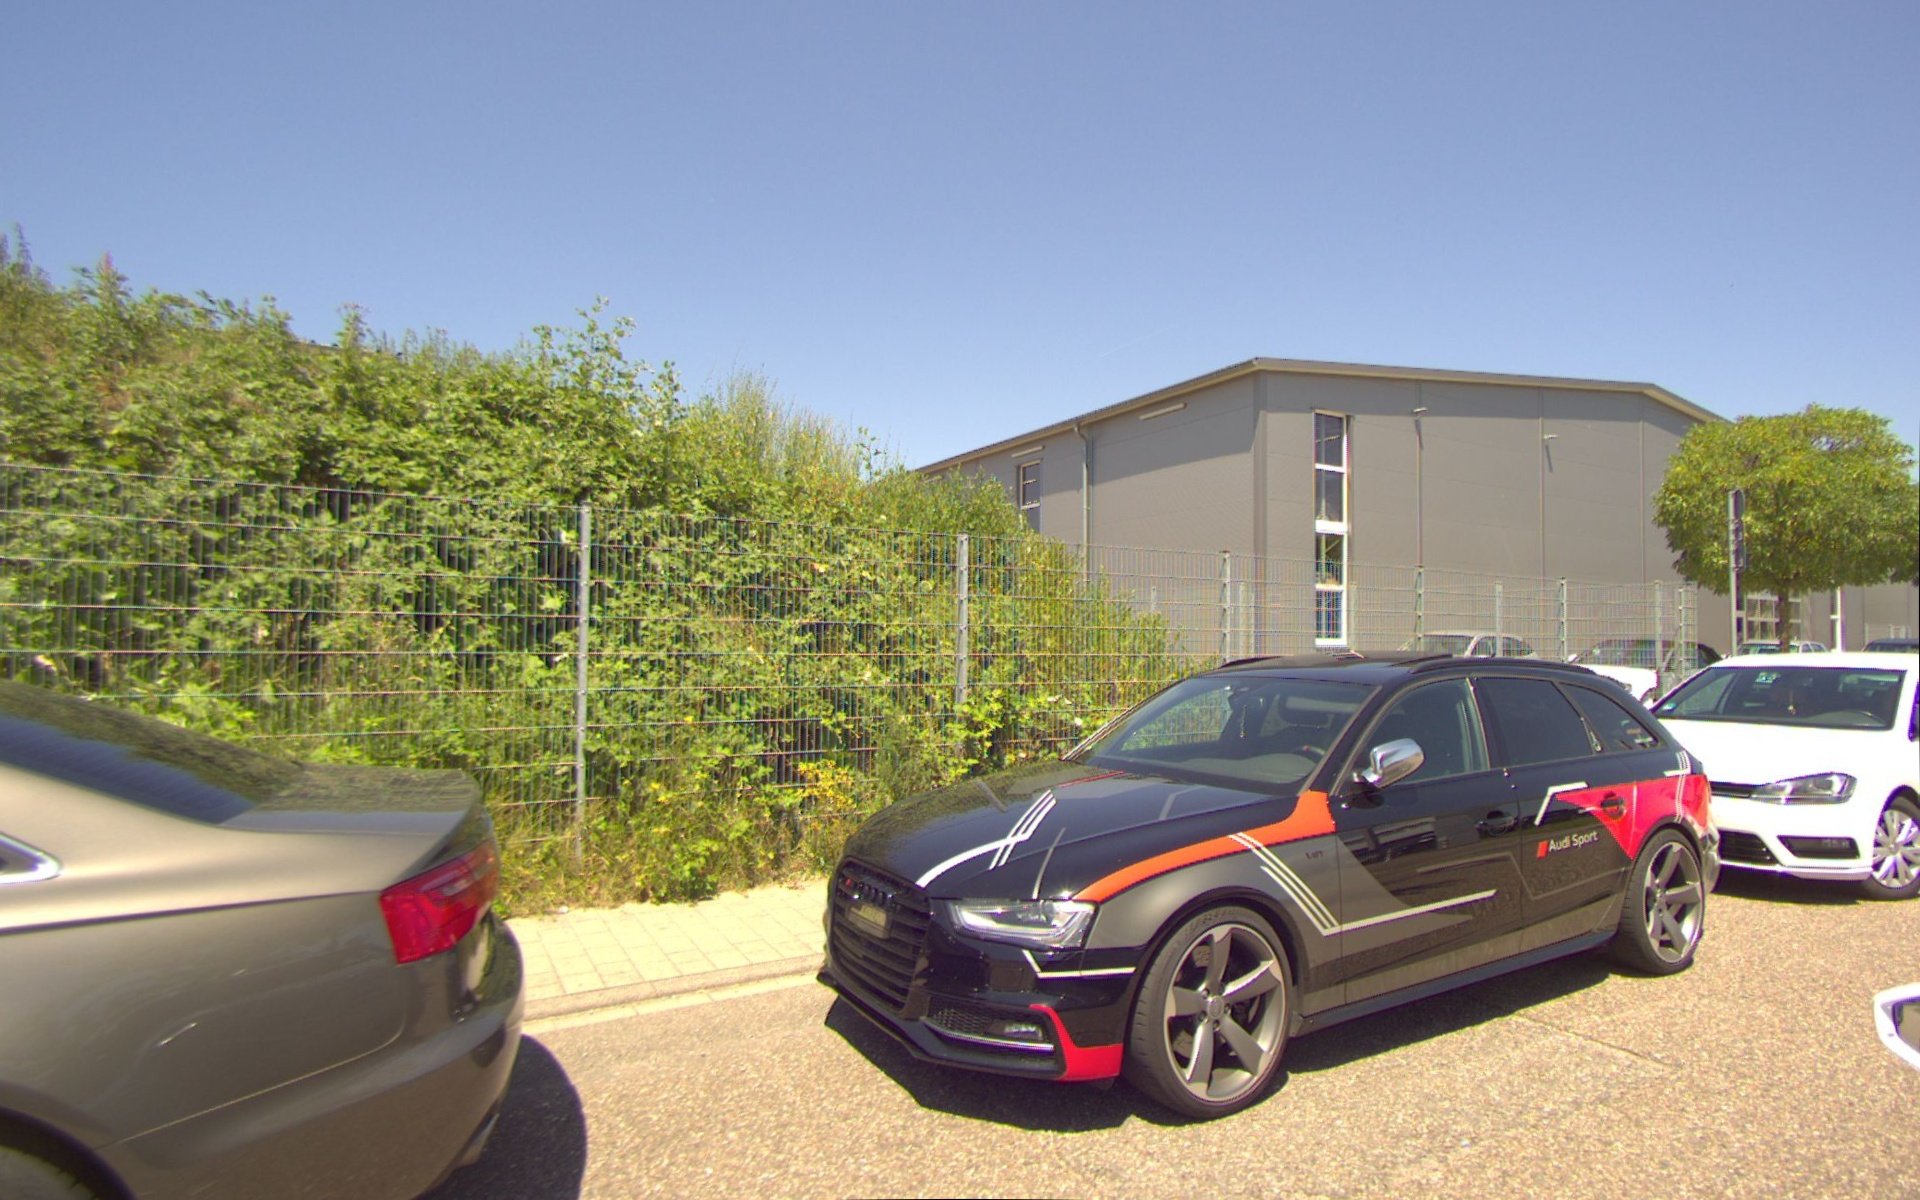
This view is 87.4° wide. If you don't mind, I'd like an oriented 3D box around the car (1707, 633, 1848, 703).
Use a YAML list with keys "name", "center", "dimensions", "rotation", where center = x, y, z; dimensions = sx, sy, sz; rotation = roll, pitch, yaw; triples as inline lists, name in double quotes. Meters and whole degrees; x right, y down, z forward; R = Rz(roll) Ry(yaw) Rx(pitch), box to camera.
- name: "car"
  center: [19.749, 1.612, 24.242]
  dimensions: [3.667, 1.520, 1.672]
  rotation: [2, -1, -34]

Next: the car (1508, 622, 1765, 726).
- name: "car"
  center: [11.408, 1.191, 16.892]
  dimensions: [4.274, 1.520, 1.816]
  rotation: [2, 0, -29]

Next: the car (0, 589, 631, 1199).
- name: "car"
  center: [-3.080, 0.740, 1.787]
  dimensions: [4.467, 1.519, 1.816]
  rotation: [2, -3, -30]

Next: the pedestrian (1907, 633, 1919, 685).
- name: "pedestrian"
  center: [32.613, 1.993, 33.819]
  dimensions: [0.953, 1.736, 0.836]
  rotation: [2, -1, -30]

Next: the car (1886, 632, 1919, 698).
- name: "car"
  center: [25.268, 1.648, 25.191]
  dimensions: [4.486, 1.594, 1.757]
  rotation: [2, -1, -30]

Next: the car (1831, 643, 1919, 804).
- name: "car"
  center: [11.116, 1.222, 10.420]
  dimensions: [4.473, 1.519, 1.816]
  rotation: [2, -3, -31]

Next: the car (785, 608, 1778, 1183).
- name: "car"
  center: [1.636, 0.885, 4.603]
  dimensions: [4.467, 1.519, 1.816]
  rotation: [2, -3, -30]

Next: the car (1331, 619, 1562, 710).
- name: "car"
  center: [9.219, 1.179, 18.976]
  dimensions: [4.206, 1.520, 1.816]
  rotation: [2, 0, -29]

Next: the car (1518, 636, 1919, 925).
- name: "car"
  center: [6.102, 1.052, 7.167]
  dimensions: [4.209, 1.519, 1.816]
  rotation: [2, -3, -30]

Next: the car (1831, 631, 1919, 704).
- name: "car"
  center: [21.224, 1.484, 22.572]
  dimensions: [3.668, 1.520, 1.672]
  rotation: [2, -2, -35]
